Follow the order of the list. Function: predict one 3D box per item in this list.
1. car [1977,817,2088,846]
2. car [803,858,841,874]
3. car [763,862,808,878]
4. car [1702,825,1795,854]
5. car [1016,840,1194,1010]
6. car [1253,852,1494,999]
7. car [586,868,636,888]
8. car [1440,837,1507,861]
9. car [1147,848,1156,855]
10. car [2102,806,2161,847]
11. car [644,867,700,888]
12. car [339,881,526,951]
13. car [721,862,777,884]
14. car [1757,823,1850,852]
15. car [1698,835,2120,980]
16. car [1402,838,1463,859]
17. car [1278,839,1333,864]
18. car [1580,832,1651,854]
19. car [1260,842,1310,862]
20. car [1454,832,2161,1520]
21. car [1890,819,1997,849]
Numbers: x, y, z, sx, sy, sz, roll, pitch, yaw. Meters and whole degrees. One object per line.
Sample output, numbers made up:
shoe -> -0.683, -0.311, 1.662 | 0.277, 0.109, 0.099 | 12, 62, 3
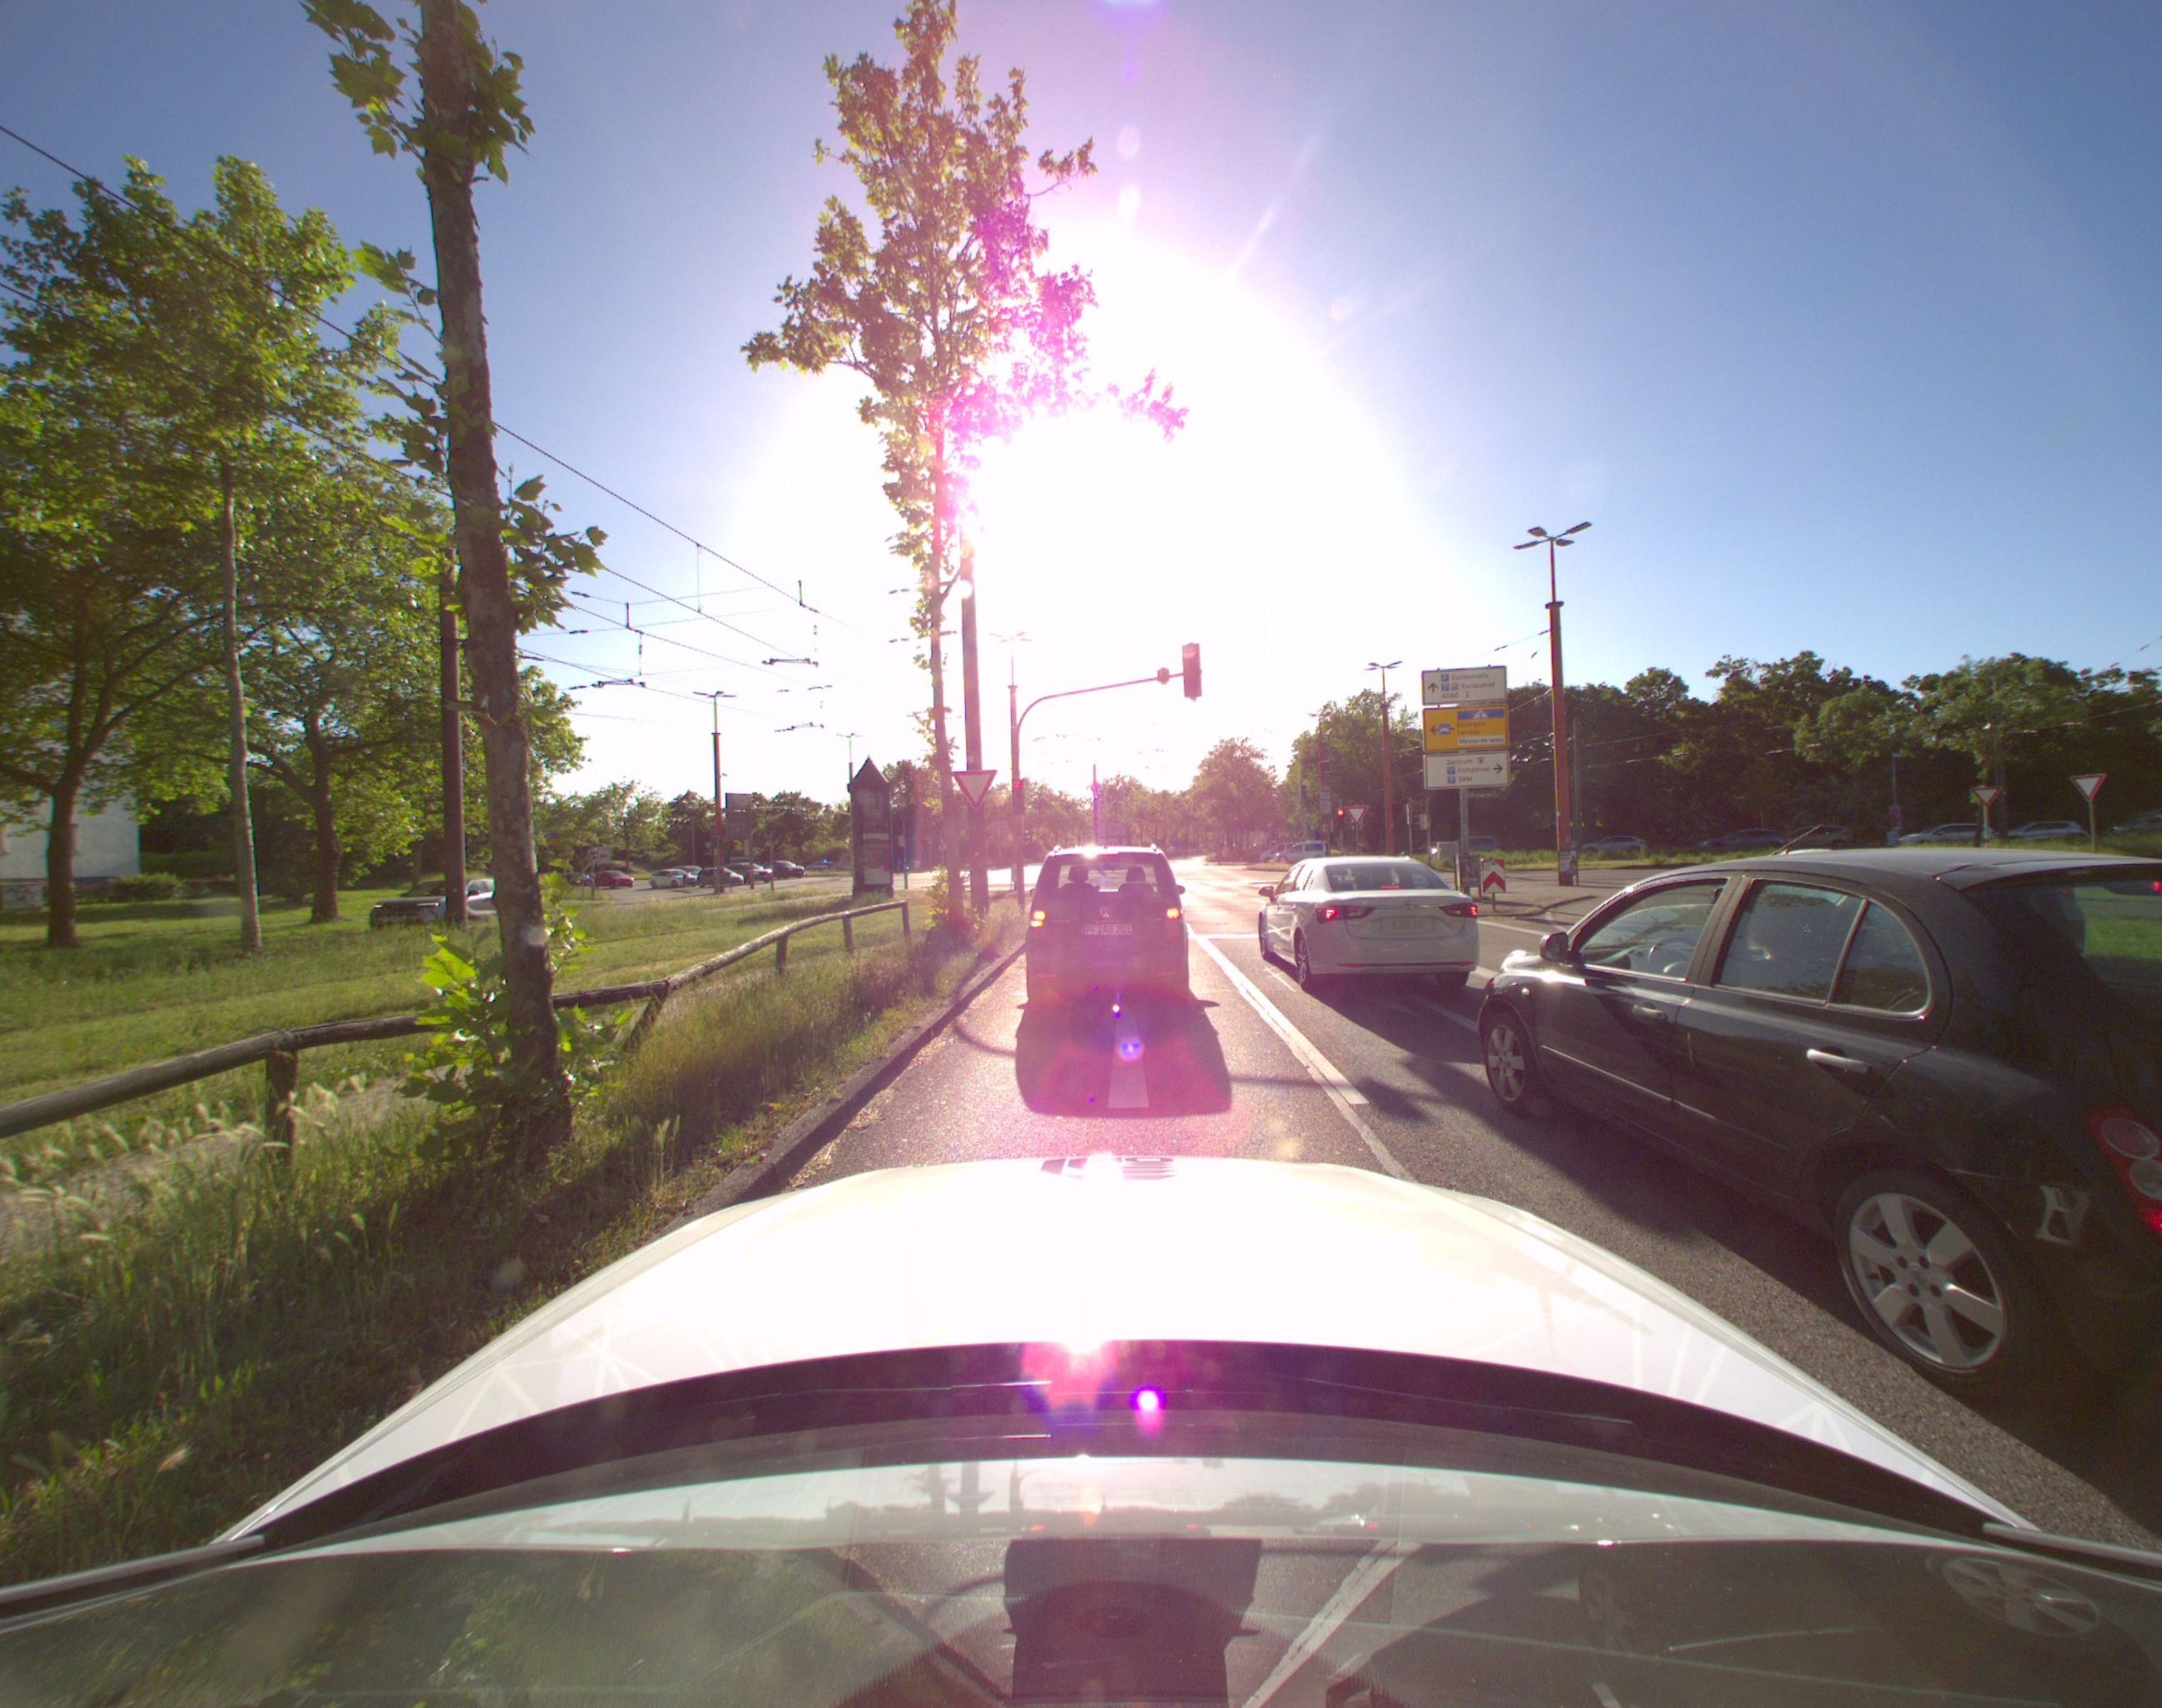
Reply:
car -> 53.564, -1.240, 45.942 | 3.700, 1.473, 1.610 | -2, 0, 28
car -> -28.442, 1.365, 89.288 | 4.060, 1.656, 1.815 | -2, 0, 34
car -> -26.477, 1.458, 72.936 | 3.948, 1.330, 1.709 | -2, 0, 33
car -> 40.708, -0.857, 49.770 | 4.080, 1.598, 1.840 | -2, 0, 29
car -> 0.286, 0.698, 9.928 | 1.694, 1.621, 3.898 | -2, 0, 1
car -> 3.326, 0.710, 10.148 | 1.713, 1.438, 4.202 | -1, 0, 3
car -> -39.328, 2.015, 68.198 | 3.949, 1.513, 1.743 | -2, 0, 27
car -> 27.458, -0.338, 57.051 | 4.139, 1.644, 1.770 | 0, -1, 28
car -> 17.125, -0.555, 199.031 | 1.904, 1.635, 4.010 | 0, 0, 9
car -> 55.823, -1.431, 41.354 | 4.526, 2.013, 2.013 | -2, 0, 33
car -> -32.440, 1.856, 64.615 | 4.135, 1.612, 1.880 | -2, 0, 27
car -> -17.359, 1.591, 22.117 | 1.803, 1.522, 4.323 | -2, 0, -5
car -> -26.606, 1.512, 65.308 | 3.950, 1.644, 2.012 | -2, 0, 26
car -> 45.557, -1.026, 51.473 | 4.080, 1.644, 1.864 | -2, 0, 31
car -> 10.000, 0.548, 10.393 | 1.722, 1.450, 4.145 | -2, 0, 11
car -> 26.458, -0.396, 61.288 | 4.082, 1.511, 1.834 | 0, -1, 28
car -> 17.266, -0.147, 62.557 | 3.797, 1.890, 1.774 | 0, -1, 25
car -> 36.337, -0.744, 55.446 | 3.926, 1.441, 1.697 | 0, -1, 29
car -> 16.720, -0.147, 66.779 | 3.608, 1.655, 1.690 | 0, -1, 27
car -> 3.221, 0.694, 3.566 | 1.647, 1.500, 3.617 | -1, 0, 2
car -> 48.168, -1.102, 45.588 | 3.782, 1.523, 1.706 | -2, 0, 31
